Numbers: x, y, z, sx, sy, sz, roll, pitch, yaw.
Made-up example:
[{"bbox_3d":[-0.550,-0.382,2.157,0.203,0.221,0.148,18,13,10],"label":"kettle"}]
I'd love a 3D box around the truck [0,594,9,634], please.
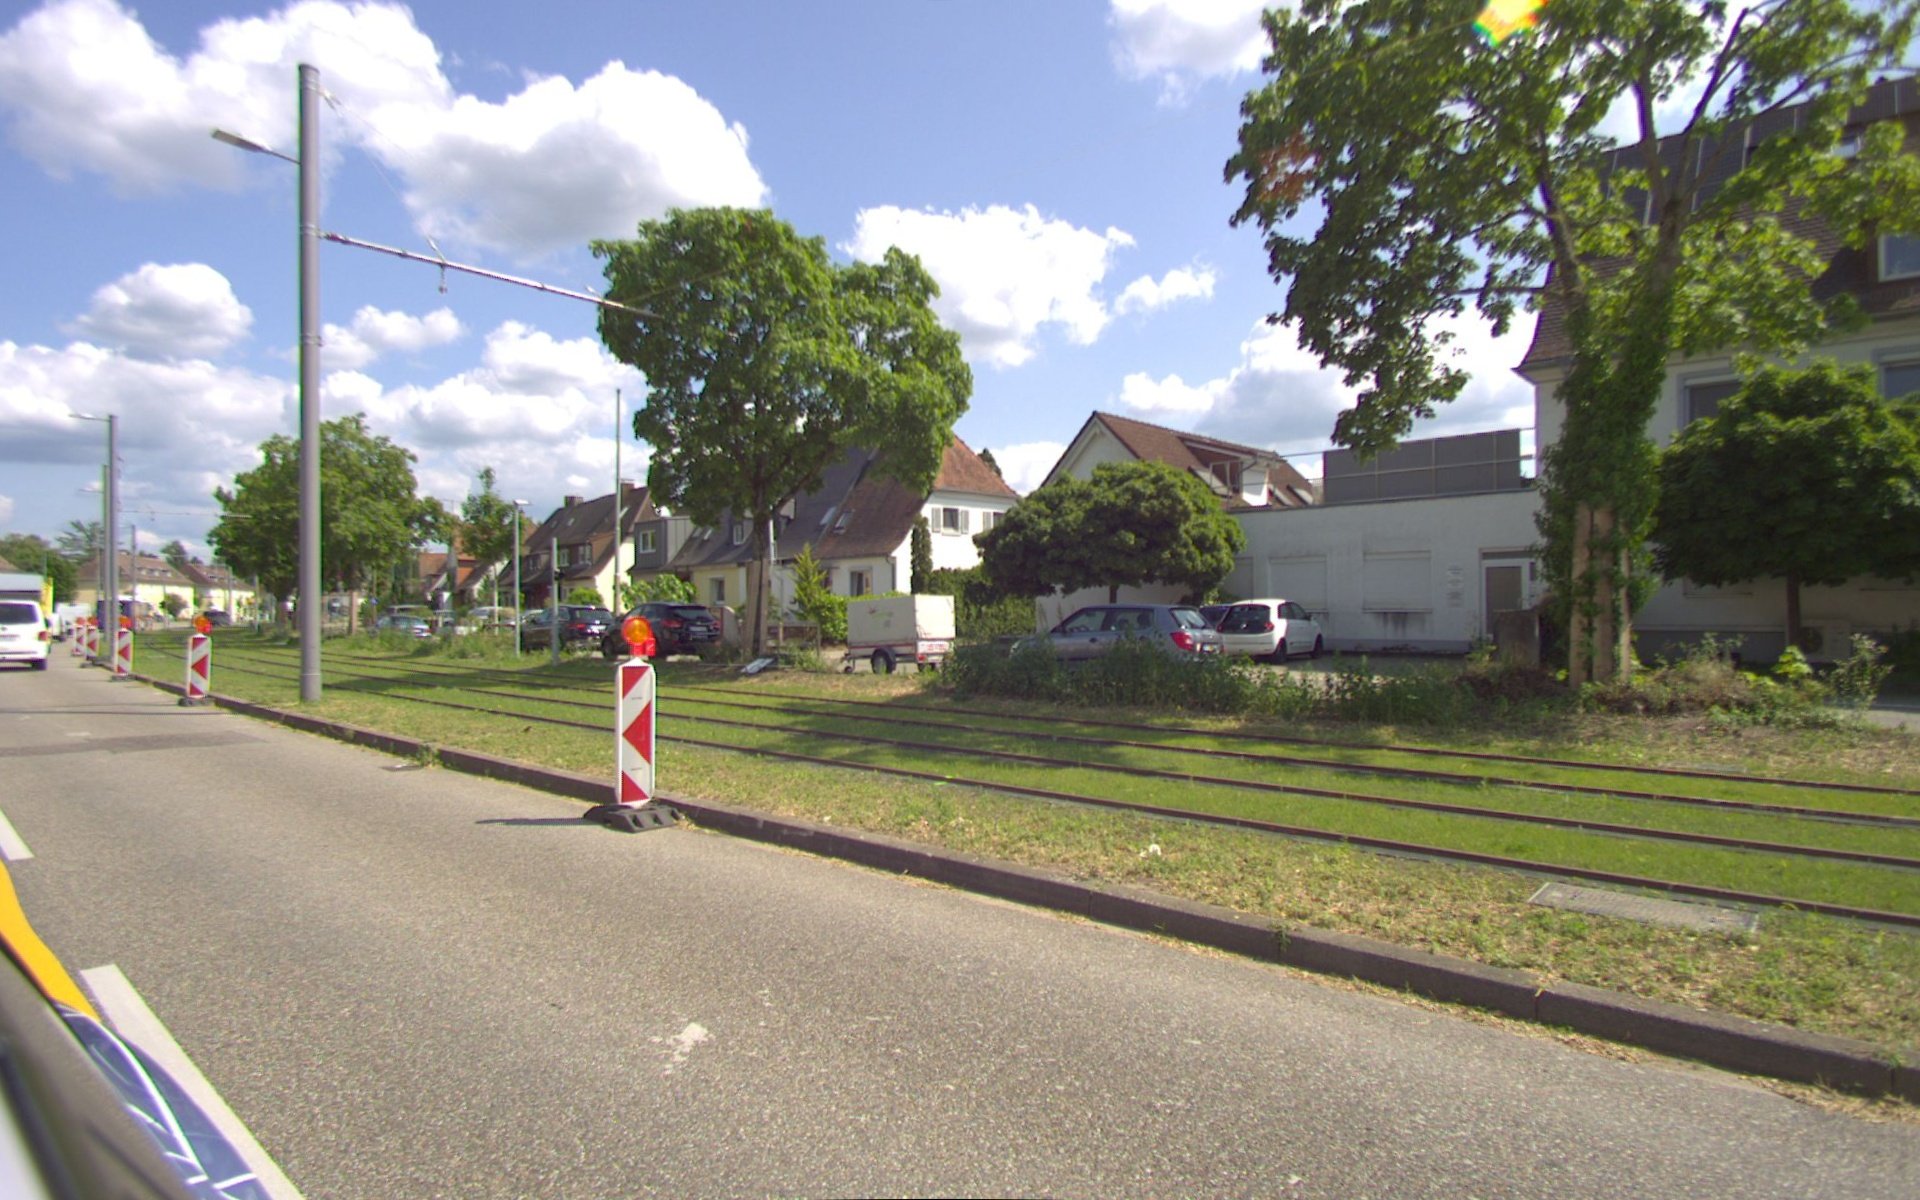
[{"bbox_3d":[-72.189,1.040,74.127,2.492,2.970,7.881,1,0,-34],"label":"truck"}]

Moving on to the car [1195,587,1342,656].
[{"bbox_3d":[7.737,0.535,25.210,1.999,1.539,3.945,-4,-3,41],"label":"car"}]

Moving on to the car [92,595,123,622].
[{"bbox_3d":[-78.126,0.767,92.776,1.669,2.450,3.584,1,-1,-33],"label":"car"}]

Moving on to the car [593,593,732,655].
[{"bbox_3d":[-8.357,0.714,28.271,4.100,1.590,1.884,-2,-5,43],"label":"car"}]

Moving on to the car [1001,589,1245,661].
[{"bbox_3d":[2.740,0.388,17.463,3.834,1.101,1.762,0,0,41],"label":"car"}]

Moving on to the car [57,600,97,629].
[{"bbox_3d":[-65.654,1.070,75.295,1.812,2.070,3.877,1,-1,-36],"label":"car"}]

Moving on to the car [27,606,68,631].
[{"bbox_3d":[-56.566,1.109,62.770,1.490,1.510,3.583,1,-1,-36],"label":"car"}]

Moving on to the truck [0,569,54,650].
[{"bbox_3d":[-42.567,0.453,45.366,2.664,3.391,8.057,1,-1,-43],"label":"truck"}]

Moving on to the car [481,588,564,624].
[{"bbox_3d":[-25.286,0.351,58.567,3.939,2.029,2.002,1,-1,-43],"label":"car"}]

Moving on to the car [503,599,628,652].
[{"bbox_3d":[-12.396,0.747,31.704,4.322,1.551,1.972,0,0,43],"label":"car"}]

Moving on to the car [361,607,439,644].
[{"bbox_3d":[-25.125,1.089,45.343,4.325,1.551,1.971,0,0,45],"label":"car"}]

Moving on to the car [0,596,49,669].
[{"bbox_3d":[-27.267,0.897,28.561,4.562,1.957,1.918,-1,-2,43],"label":"car"}]

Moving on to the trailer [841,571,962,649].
[{"bbox_3d":[-1.238,0.201,20.995,2.281,1.530,1.285,0,-1,42],"label":"trailer"}]
